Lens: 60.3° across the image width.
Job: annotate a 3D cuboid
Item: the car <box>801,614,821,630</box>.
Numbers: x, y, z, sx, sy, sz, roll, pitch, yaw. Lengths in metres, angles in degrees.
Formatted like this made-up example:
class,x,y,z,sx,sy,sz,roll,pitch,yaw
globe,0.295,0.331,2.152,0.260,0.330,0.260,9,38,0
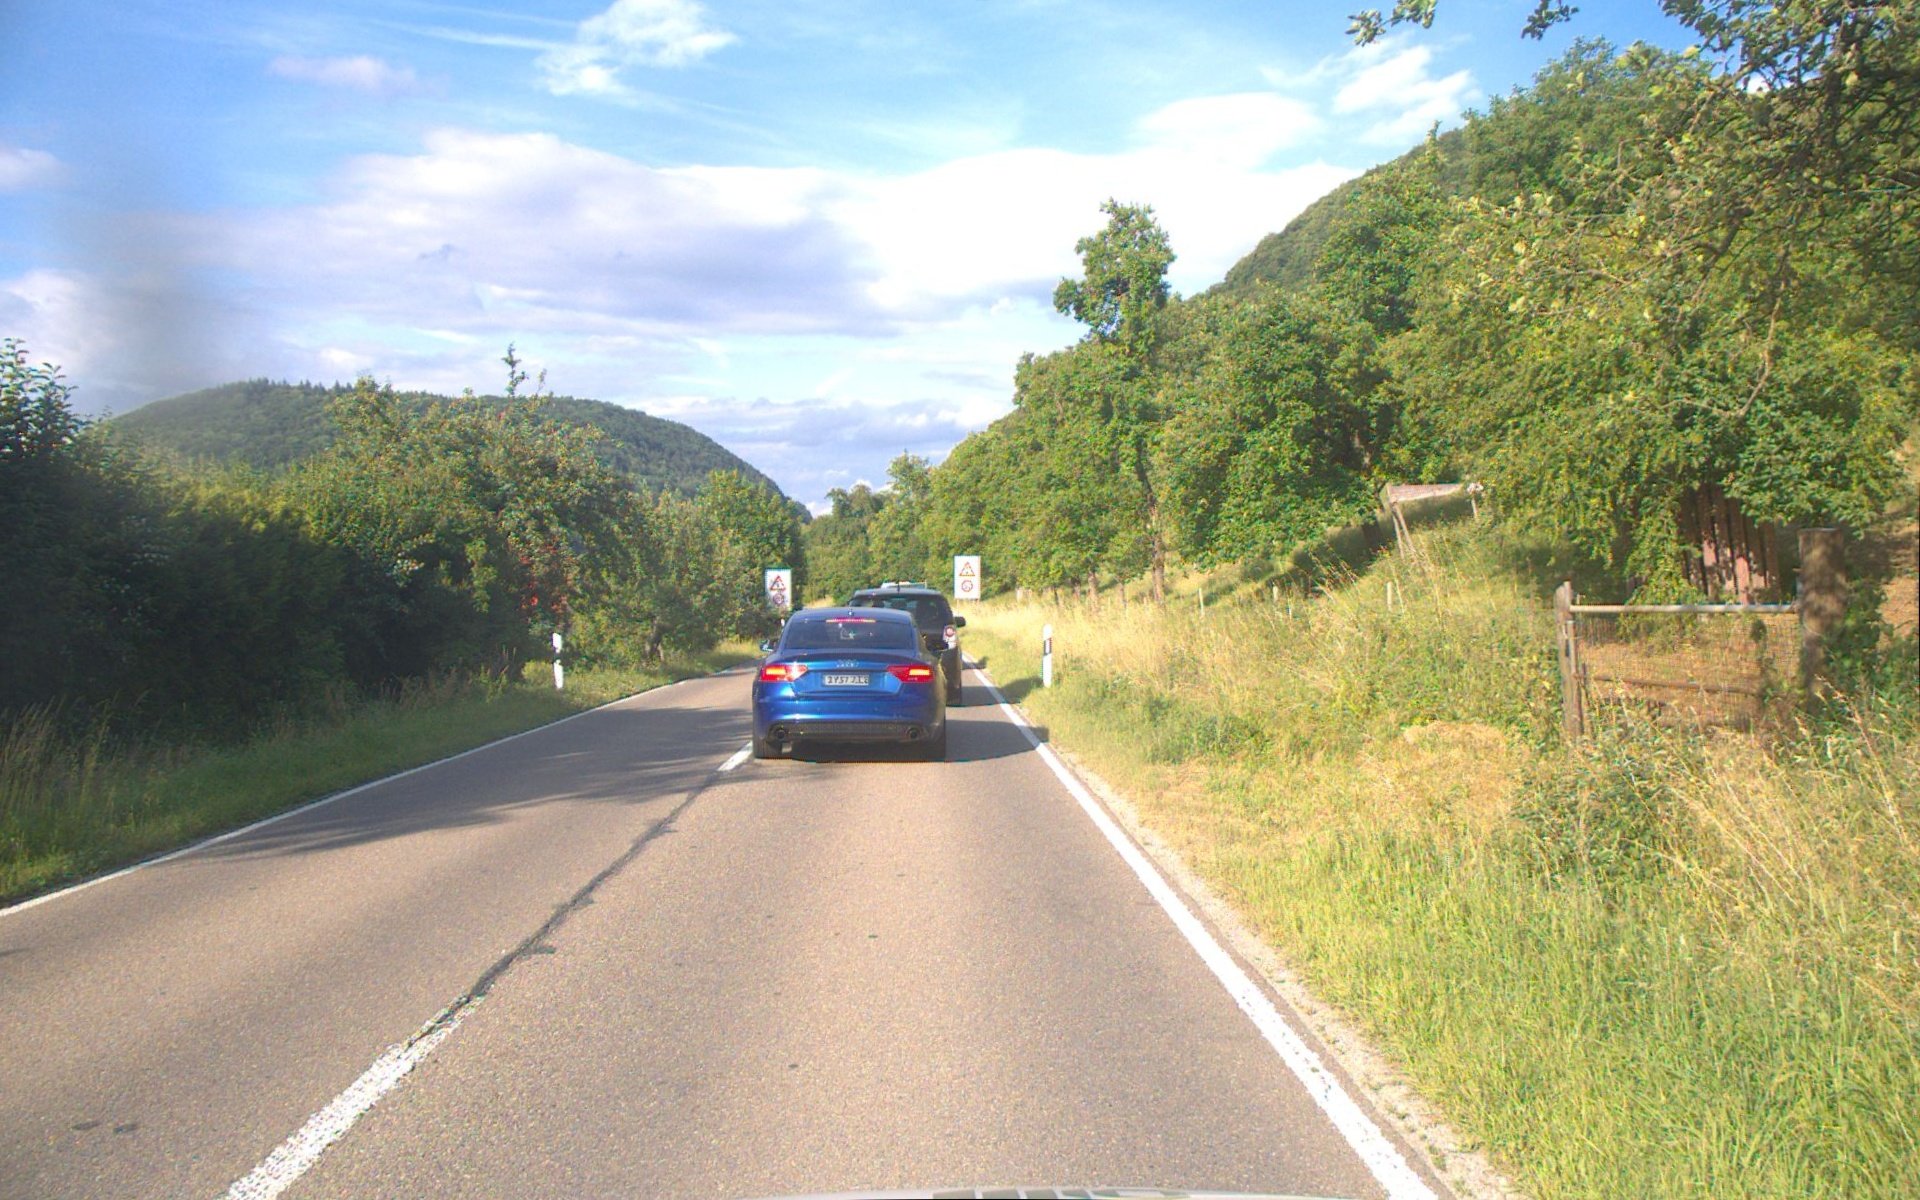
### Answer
class,x,y,z,sx,sy,sz,roll,pitch,yaw
car,-15.328,2.254,169.939,1.532,1.522,3.764,1,0,-14

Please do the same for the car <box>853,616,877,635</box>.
class,x,y,z,sx,sy,sz,roll,pitch,yaw
car,-7.881,2.086,137.344,1.530,1.522,3.769,1,0,-10

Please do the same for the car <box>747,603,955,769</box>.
class,x,y,z,sx,sy,sz,roll,pitch,yaw
car,-0.986,0.745,16.240,1.769,1.406,4.213,0,0,-2

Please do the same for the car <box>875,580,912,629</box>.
class,x,y,z,sx,sy,sz,roll,pitch,yaw
car,-3.543,0.223,87.556,1.757,2.496,3.915,1,0,-5

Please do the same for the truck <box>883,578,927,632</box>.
class,x,y,z,sx,sy,sz,roll,pitch,yaw
truck,-2.586,0.242,77.094,1.911,2.386,5.091,1,0,-3

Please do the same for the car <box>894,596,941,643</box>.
class,x,y,z,sx,sy,sz,roll,pitch,yaw
car,-1.583,0.679,60.419,1.659,1.652,3.787,0,0,-2

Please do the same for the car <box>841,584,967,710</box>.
class,x,y,z,sx,sy,sz,roll,pitch,yaw
car,-0.798,0.609,23.636,1.659,1.652,3.787,0,0,-2
